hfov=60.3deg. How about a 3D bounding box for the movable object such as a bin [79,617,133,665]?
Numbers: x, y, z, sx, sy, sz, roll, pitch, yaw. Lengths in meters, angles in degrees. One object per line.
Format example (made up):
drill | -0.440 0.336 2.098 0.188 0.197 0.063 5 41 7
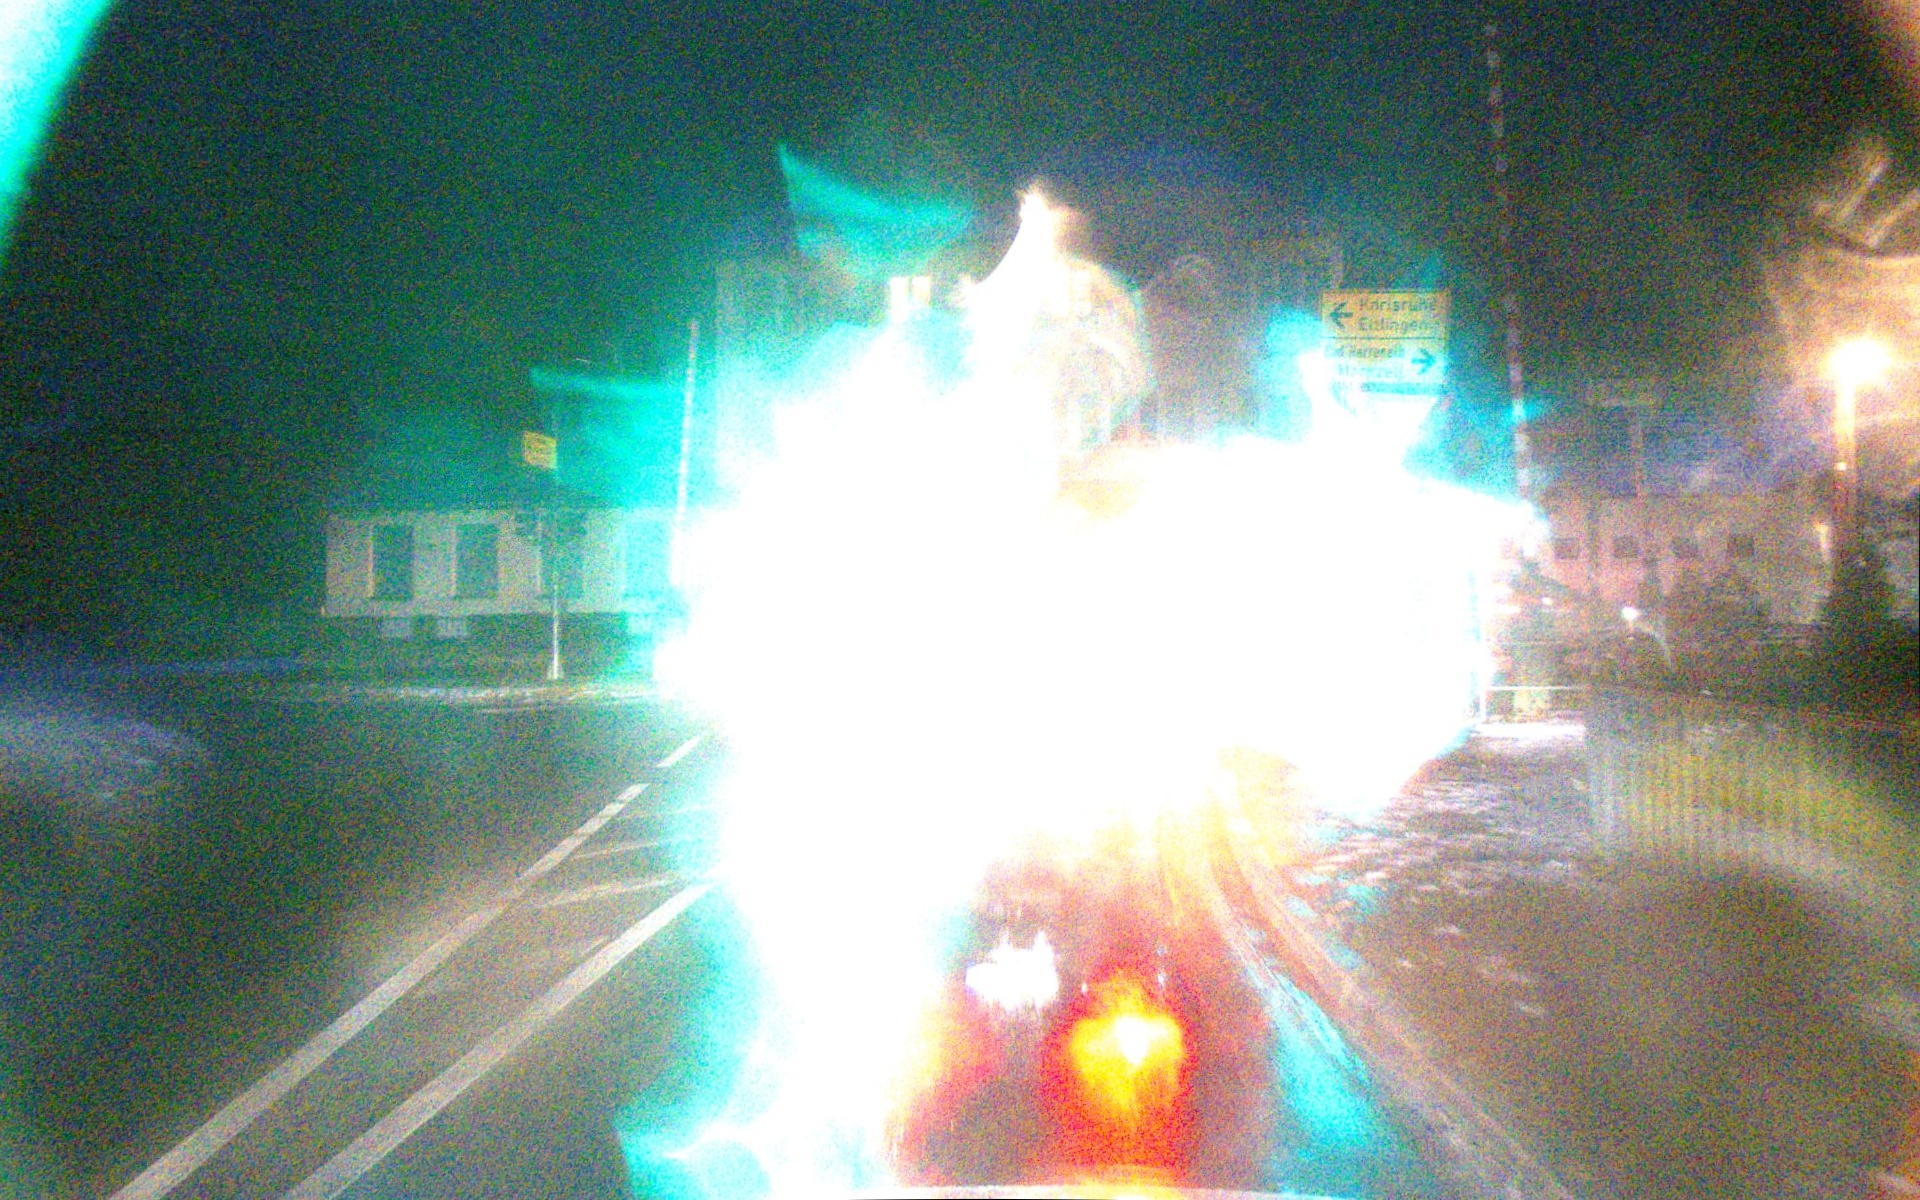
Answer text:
movable object such as a bin | -25.459 1.222 49.333 1.295 1.321 1.243 1 2 -22

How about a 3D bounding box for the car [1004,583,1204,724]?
car | 1.938 0.600 20.949 1.869 1.537 4.245 -1 1 14

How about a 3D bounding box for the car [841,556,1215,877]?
car | 0.429 0.641 11.161 2.015 1.707 4.140 2 0 1

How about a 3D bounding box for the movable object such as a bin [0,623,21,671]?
movable object such as a bin | -28.109 1.365 48.196 1.214 1.348 1.143 -1 1 -27

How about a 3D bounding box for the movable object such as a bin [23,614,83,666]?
movable object such as a bin | -26.763 1.179 48.835 1.368 1.437 1.243 1 2 -22

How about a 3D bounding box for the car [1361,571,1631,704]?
car | 9.186 0.645 28.336 4.183 1.980 1.765 3 1 -23

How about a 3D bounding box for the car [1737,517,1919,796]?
car | 7.492 0.212 10.307 4.372 1.613 1.941 -3 1 9
